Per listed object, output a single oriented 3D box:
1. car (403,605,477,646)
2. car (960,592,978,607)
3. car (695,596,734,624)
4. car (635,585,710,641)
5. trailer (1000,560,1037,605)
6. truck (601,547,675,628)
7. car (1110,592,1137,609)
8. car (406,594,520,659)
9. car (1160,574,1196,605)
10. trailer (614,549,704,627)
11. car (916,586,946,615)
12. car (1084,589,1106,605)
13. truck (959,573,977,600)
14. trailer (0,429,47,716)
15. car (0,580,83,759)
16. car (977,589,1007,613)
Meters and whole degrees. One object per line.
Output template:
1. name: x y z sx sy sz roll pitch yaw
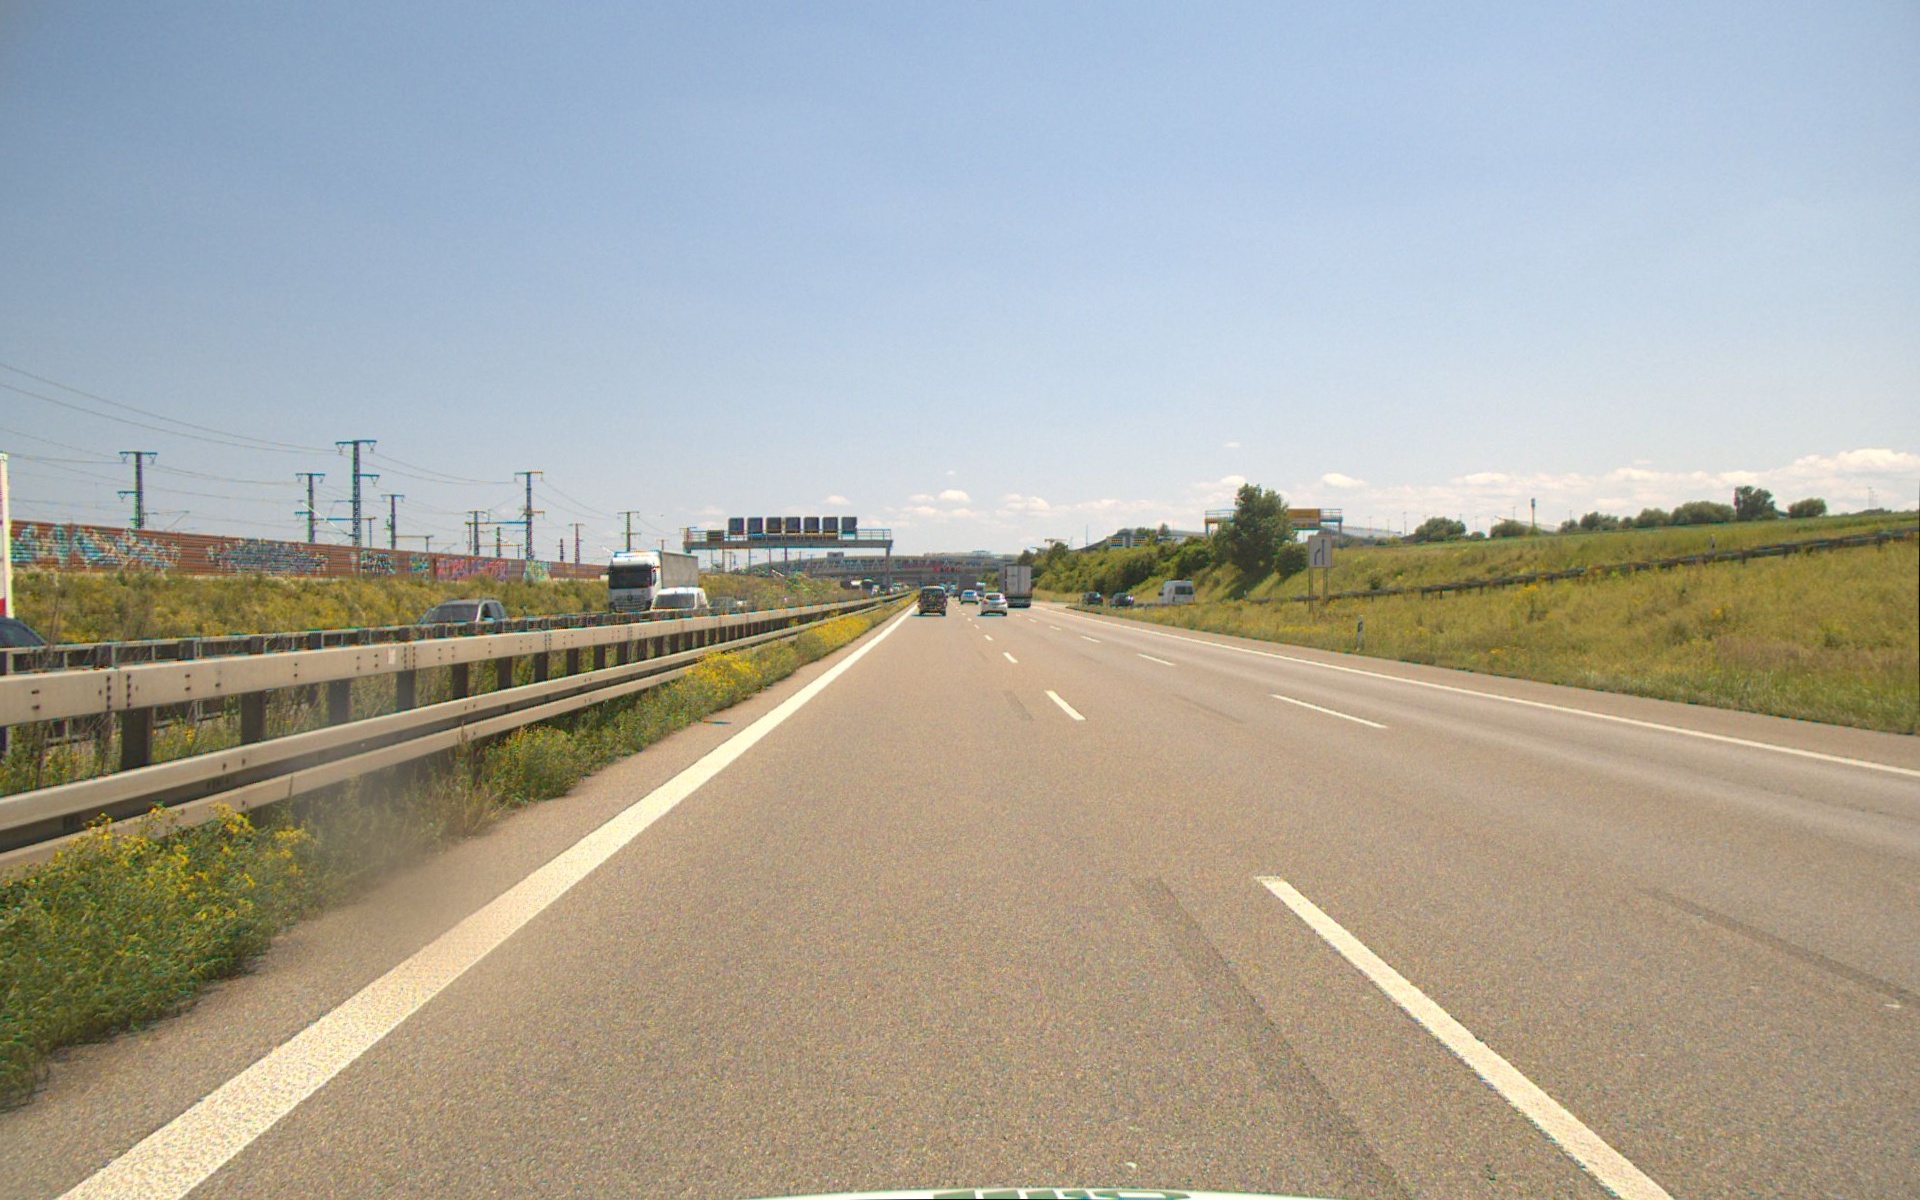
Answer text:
1. car: -20.548 0.971 65.512 1.718 1.546 3.835 0 0 -1
2. car: 0.974 -0.019 175.687 1.842 1.553 4.000 1 0 0
3. car: -13.583 0.552 91.626 1.611 1.487 3.836 0 0 0
4. car: -9.757 0.416 56.439 1.779 1.816 4.537 0 0 -1
5. trailer: 5.540 -1.668 158.383 3.113 4.130 9.438 -1 0 -1
6. truck: -17.235 -0.652 88.902 2.674 4.143 6.380 -1 0 0
7. car: 15.866 0.103 160.439 1.954 1.534 3.997 2 -1 -3
8. car: -13.332 0.671 44.603 1.779 1.676 4.362 0 0 -1
9. car: 18.490 -0.898 140.518 2.228 2.572 5.398 0 0 -2
10. trailer: -17.233 -0.667 95.561 2.674 4.145 13.529 -1 0 0
11. car: -1.851 0.050 105.687 1.842 1.806 3.999 0 0 -1
12. car: 14.723 -0.284 180.253 1.953 1.624 3.998 2 -1 -1
13. truck: 1.024 -1.787 218.167 2.307 3.476 6.056 0 0 -1
14. trailer: -16.383 -0.391 21.086 2.829 4.484 12.090 -1 0 -1
15. car: -9.763 0.615 14.707 1.684 1.662 4.191 2 -1 -1
16. car: 2.125 0.079 109.077 1.842 1.553 4.001 1 0 2
